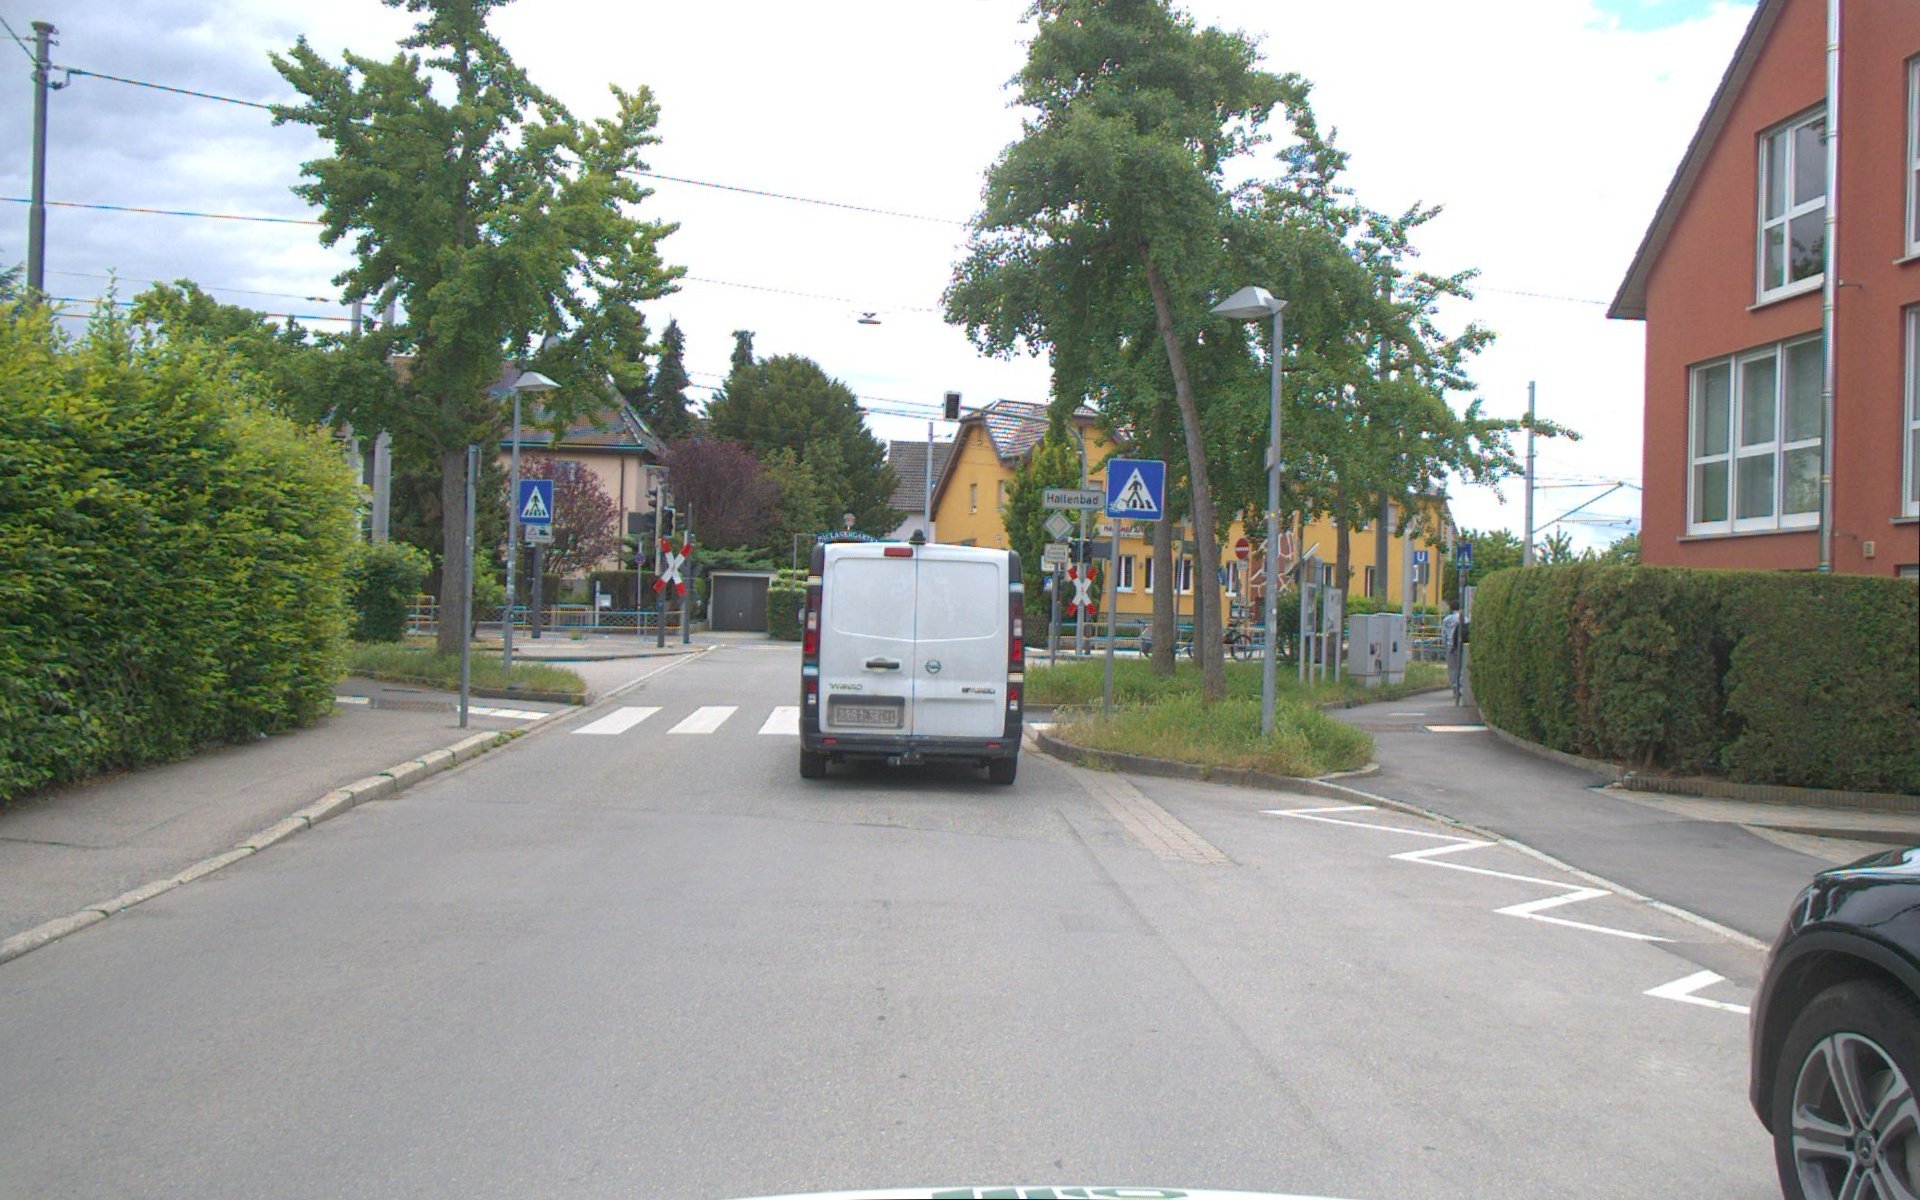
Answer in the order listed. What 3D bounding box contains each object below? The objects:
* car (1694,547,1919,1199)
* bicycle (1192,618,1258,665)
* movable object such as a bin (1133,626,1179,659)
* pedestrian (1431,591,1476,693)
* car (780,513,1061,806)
[{"bbox_3d":[3.033,0.760,2.198,1.811,1.665,4.461,3,0,-5],"label":"car"},{"bbox_3d":[6.994,1.096,43.695,1.656,1.176,0.465,2,-1,-11],"label":"bicycle"},{"bbox_3d":[5.151,1.111,43.515,1.070,0.839,0.578,2,-1,-8],"label":"movable object such as a bin"},{"bbox_3d":[9.590,0.808,32.126,0.613,1.948,0.828,0,-1,33],"label":"pedestrian"},{"bbox_3d":[-0.506,0.465,15.403,2.075,2.171,5.435,2,0,-5],"label":"car"}]
